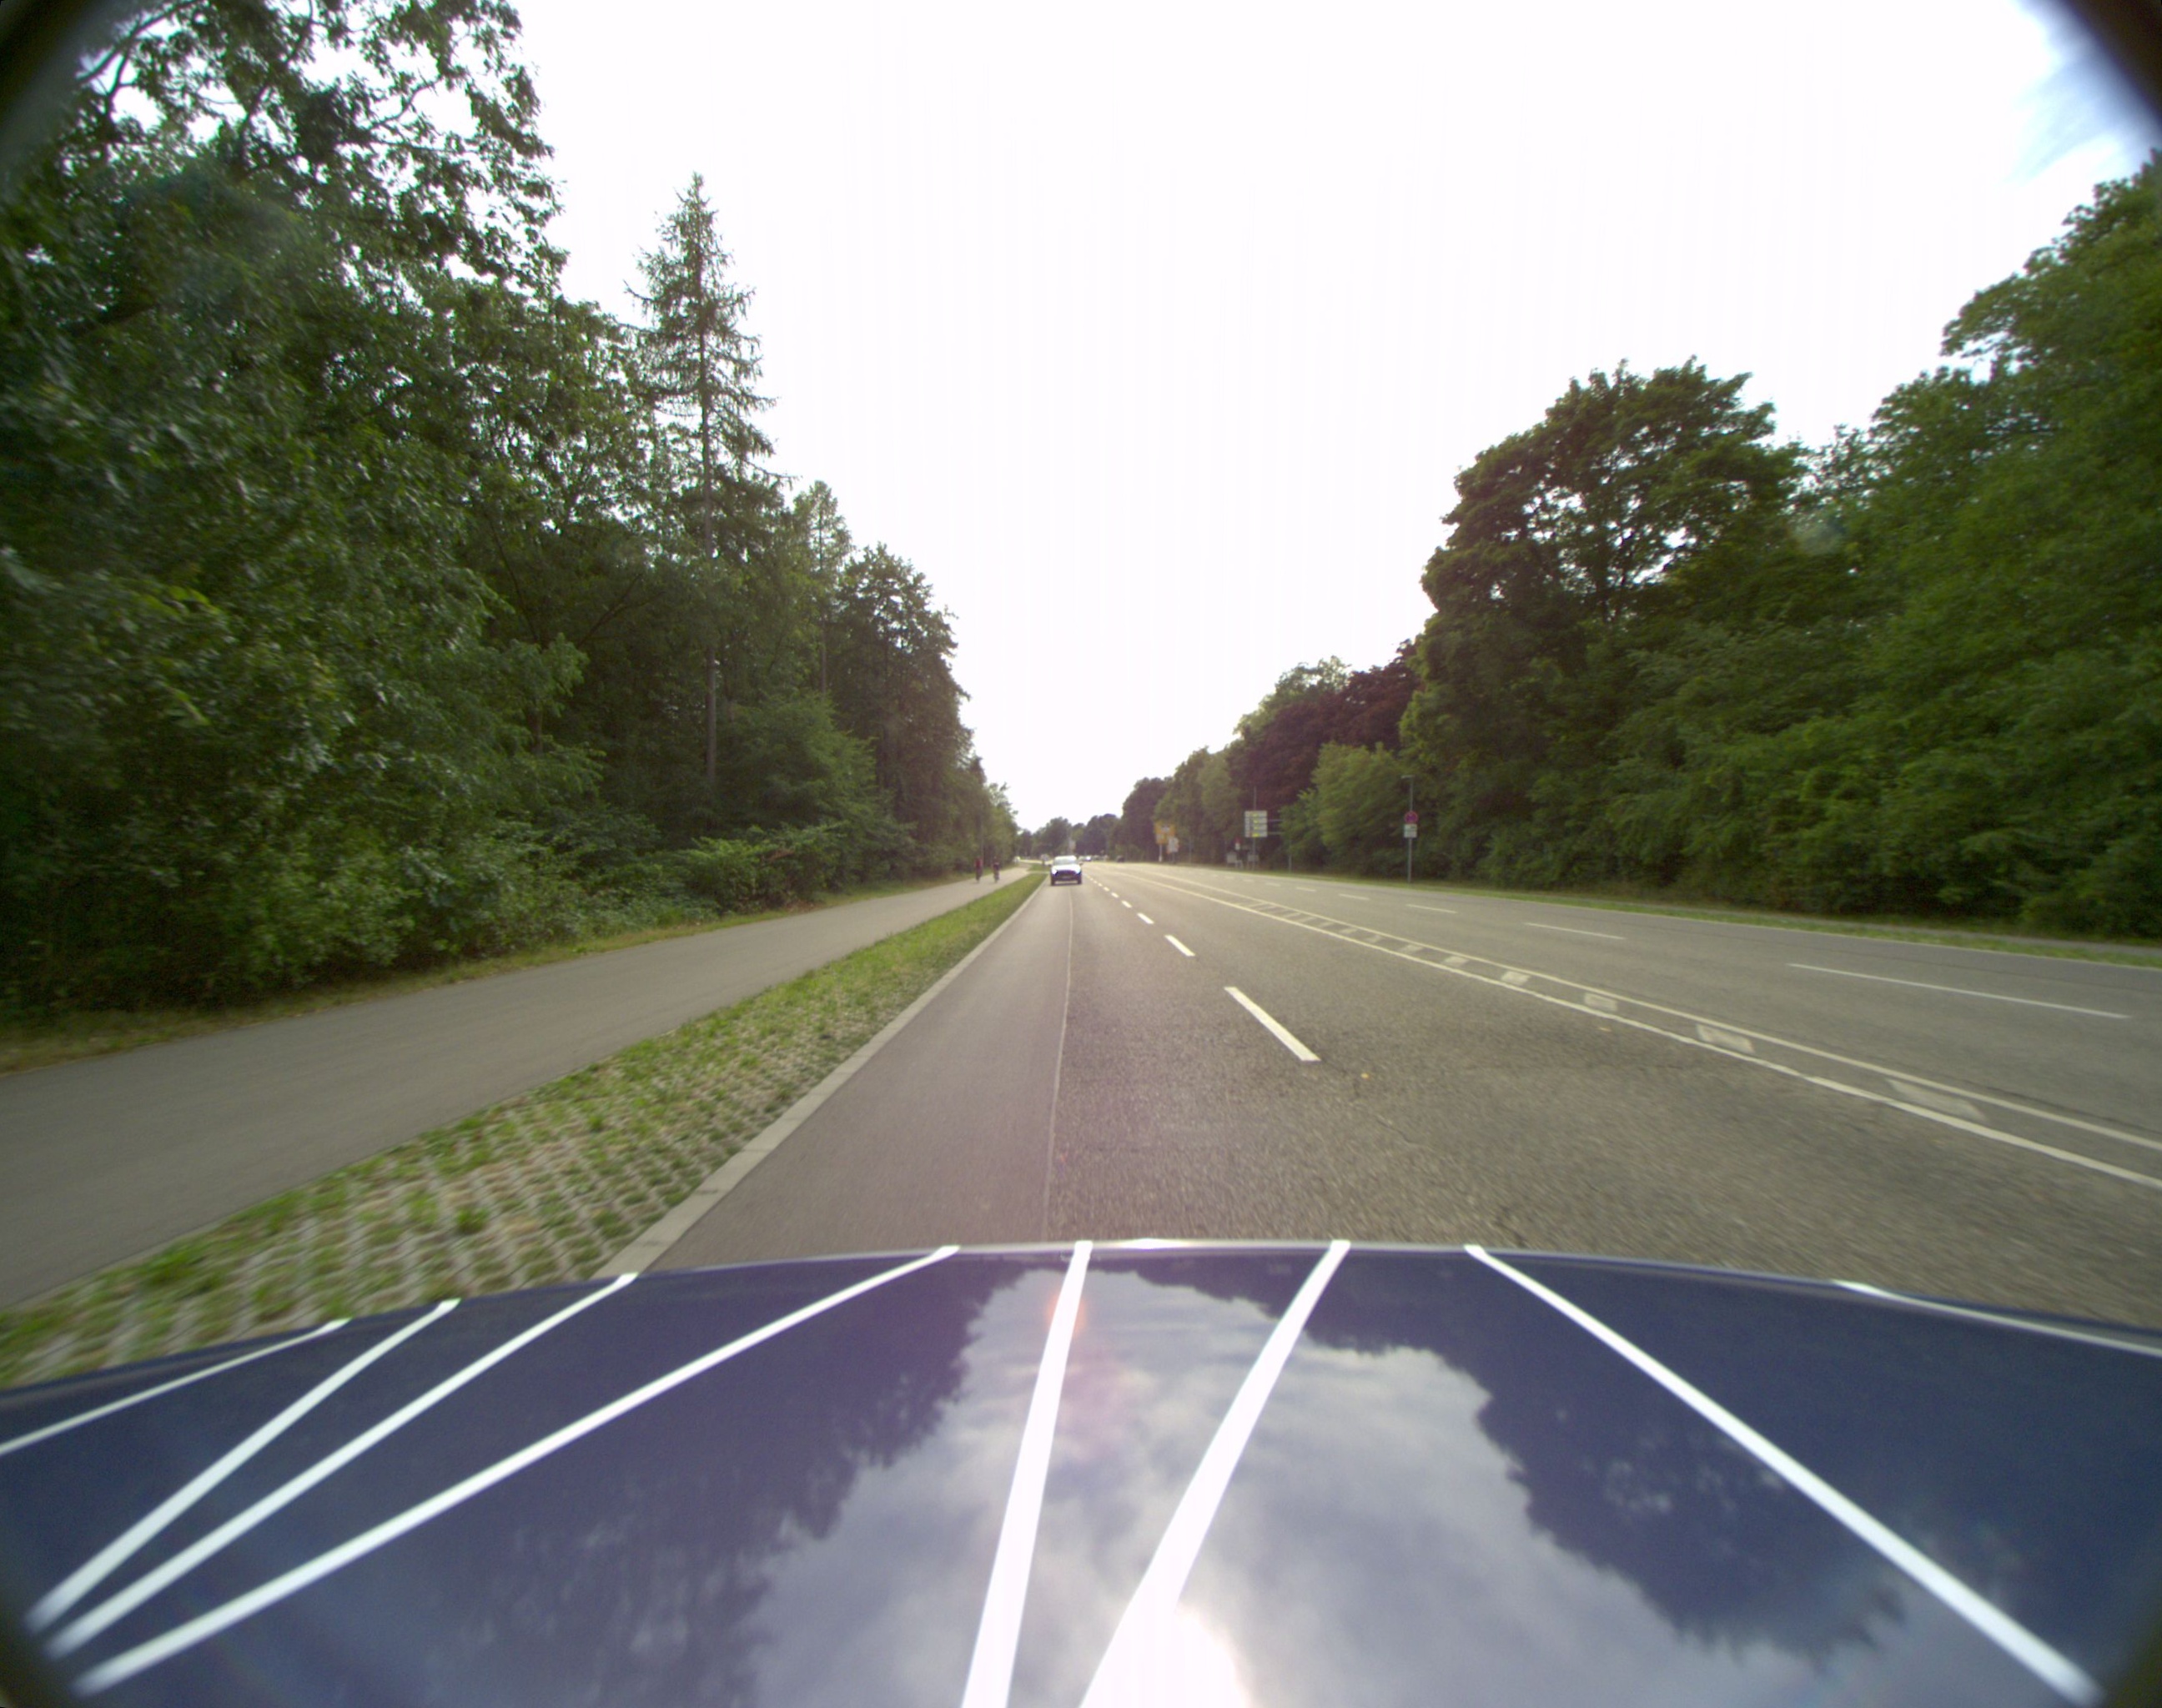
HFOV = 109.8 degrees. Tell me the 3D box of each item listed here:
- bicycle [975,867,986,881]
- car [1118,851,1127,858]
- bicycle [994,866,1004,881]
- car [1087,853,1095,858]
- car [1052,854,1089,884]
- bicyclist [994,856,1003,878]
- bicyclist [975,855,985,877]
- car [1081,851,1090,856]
[{"bbox_3d":[-6.686,1.302,50.488,0.567,0.906,1.886,-2,0,-3],"label":"bicycle"},{"bbox_3d":[9.596,0.078,175.336,1.745,1.467,3.999,-3,1,0],"label":"car"},{"bbox_3d":[-5.471,1.304,50.607,0.567,0.906,1.754,1,1,-3],"label":"bicycle"},{"bbox_3d":[3.264,0.445,239.089,1.999,1.585,3.997,-3,1,-6],"label":"car"},{"bbox_3d":[-0.615,0.837,45.620,1.999,1.565,3.999,-3,1,0],"label":"car"},{"bbox_3d":[-5.486,0.838,50.593,0.521,1.407,1.186,-1,1,-3],"label":"bicyclist"},{"bbox_3d":[-6.698,0.806,50.545,0.521,1.407,1.186,-3,1,-3],"label":"bicyclist"},{"bbox_3d":[1.464,-0.226,226.616,1.941,1.492,4.588,-3,1,-8],"label":"car"}]
